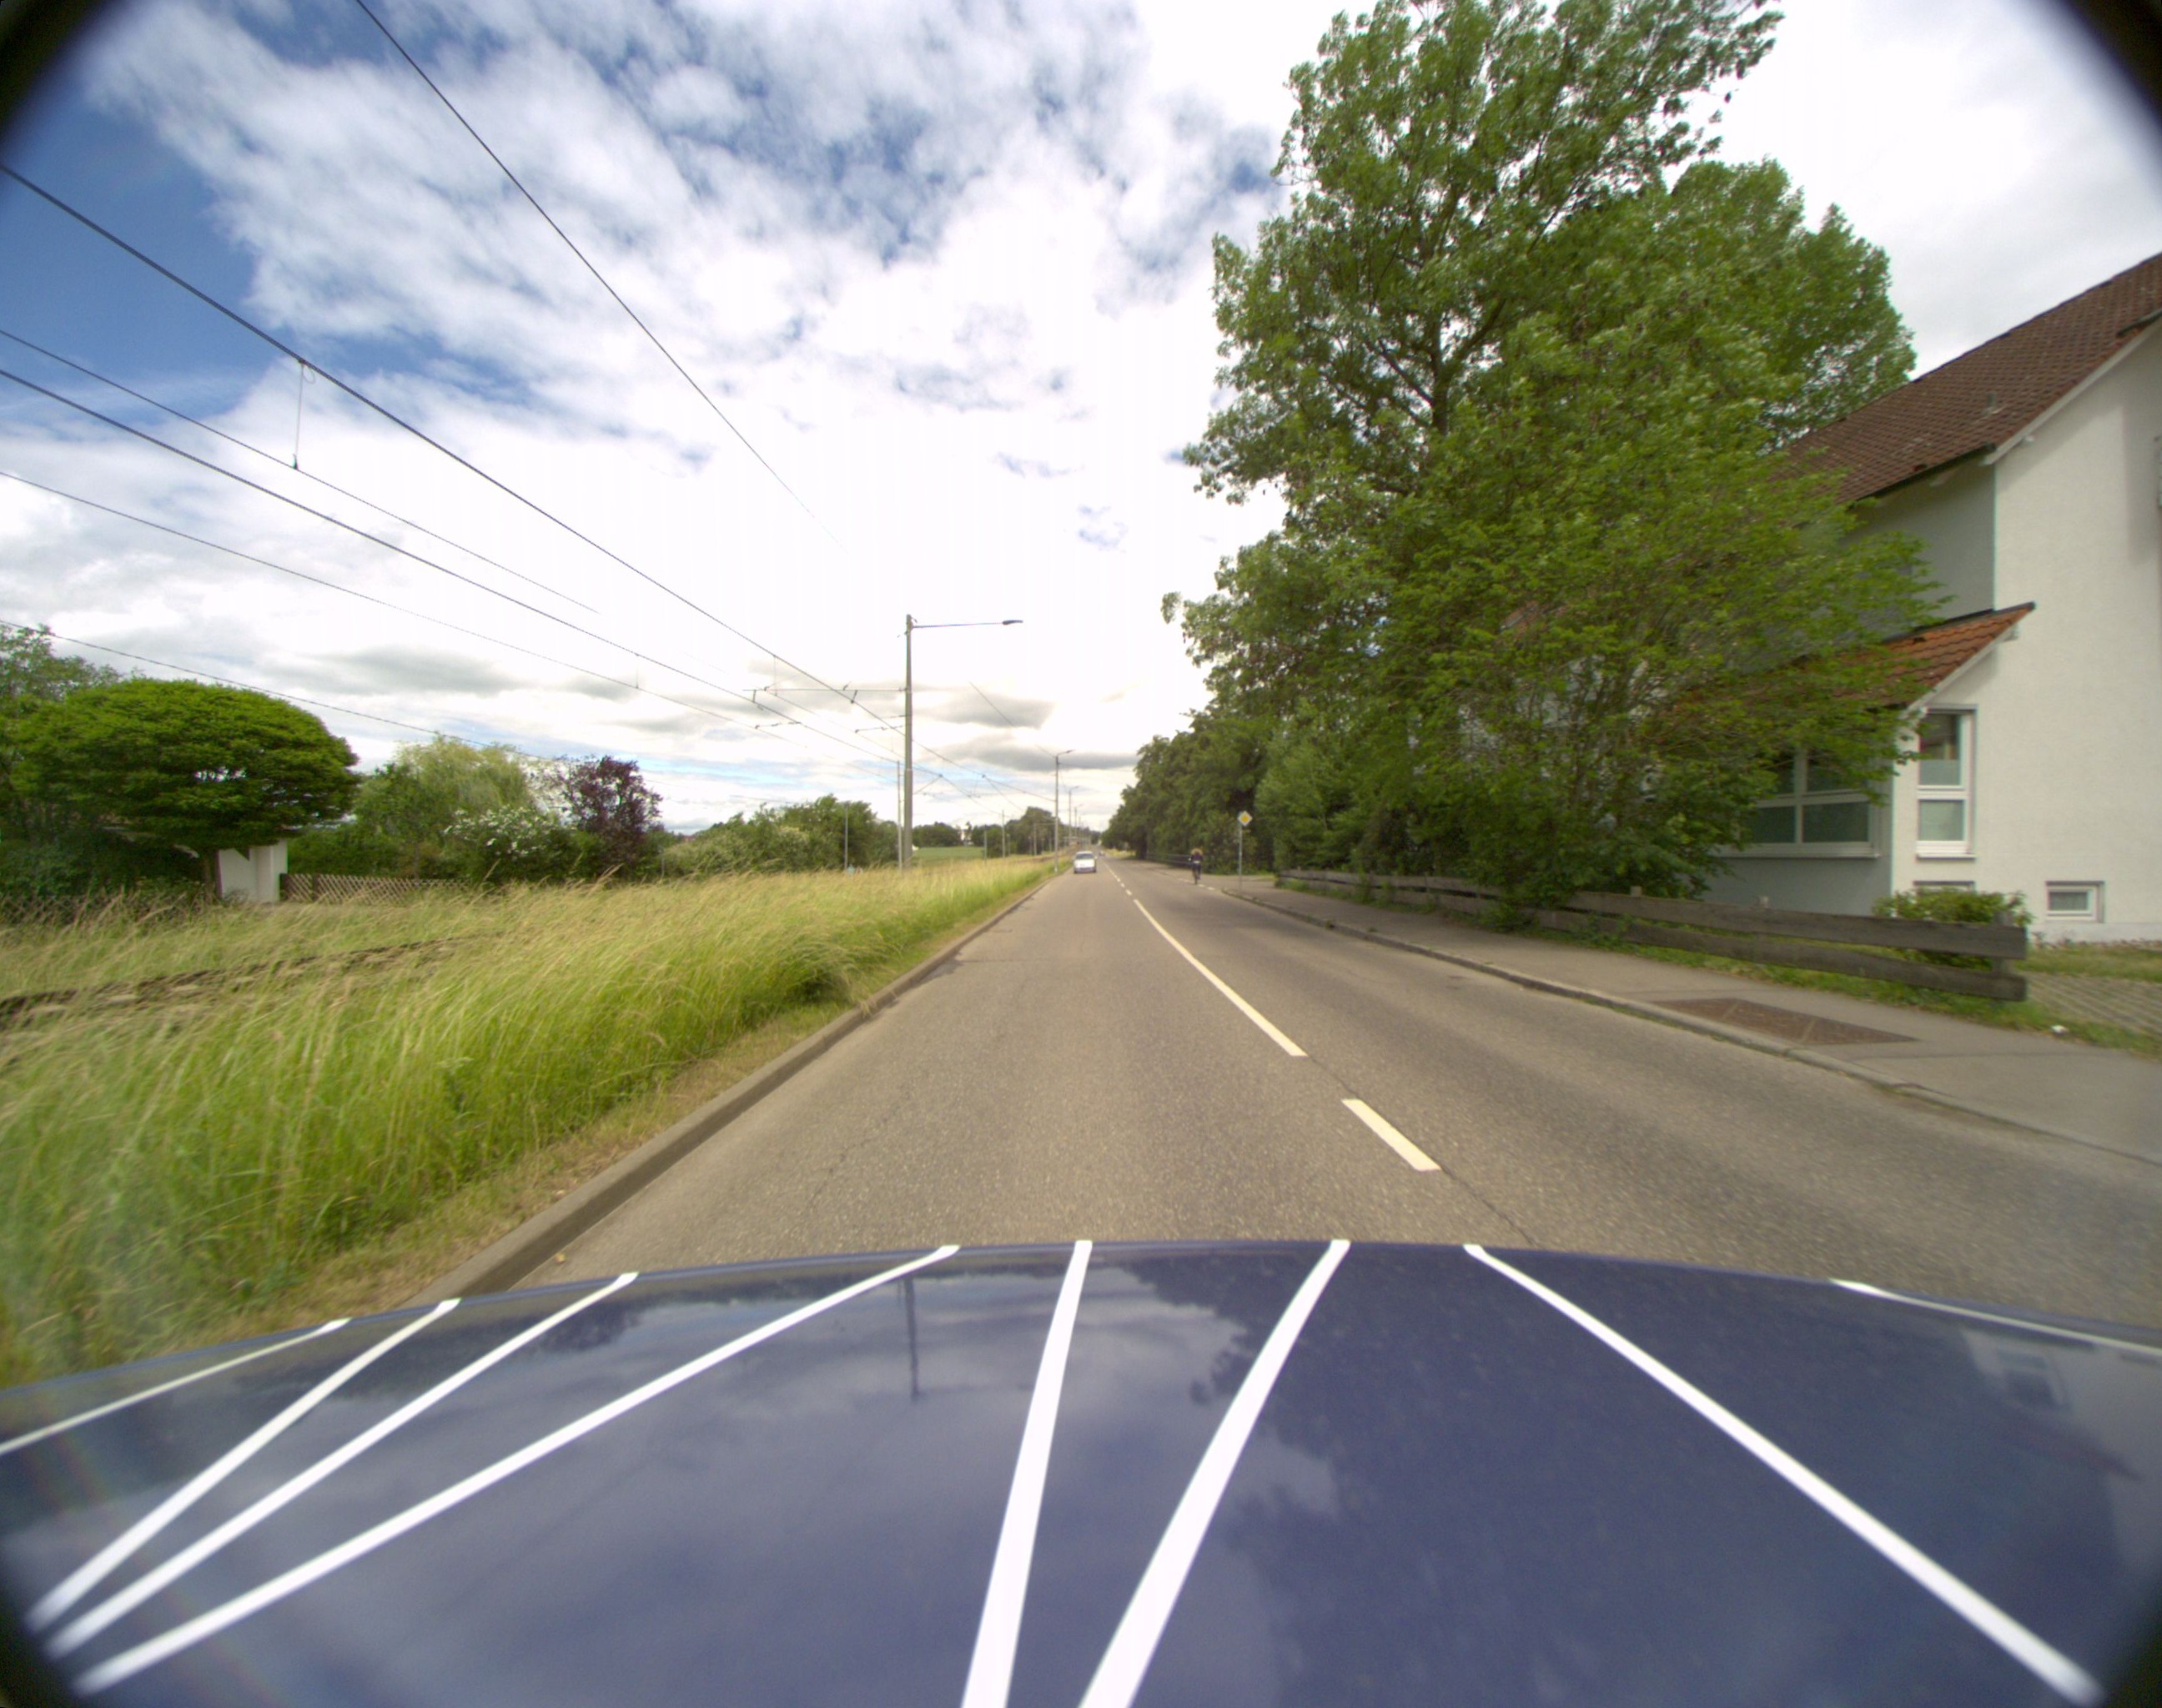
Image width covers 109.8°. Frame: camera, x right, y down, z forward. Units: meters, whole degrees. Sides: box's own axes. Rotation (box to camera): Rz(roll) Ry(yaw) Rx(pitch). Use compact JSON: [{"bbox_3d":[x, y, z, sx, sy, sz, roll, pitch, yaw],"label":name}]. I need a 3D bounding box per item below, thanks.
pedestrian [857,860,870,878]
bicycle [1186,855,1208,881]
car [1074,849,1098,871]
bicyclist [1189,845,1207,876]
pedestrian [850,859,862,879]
[{"bbox_3d":[-17.237,1.203,60.254,0.598,1.422,0.667,-2,1,23],"label":"pedestrian"},{"bbox_3d":[5.818,0.692,38.091,0.757,1.219,2.308,1,1,1],"label":"bicycle"},{"bbox_3d":[0.406,0.453,57.597,1.643,1.510,3.868,-2,1,1],"label":"car"},{"bbox_3d":[5.846,0.298,37.990,0.780,1.540,0.870,0,1,1],"label":"bicyclist"},{"bbox_3d":[-17.952,1.193,60.605,0.617,1.613,0.585,-2,1,25],"label":"pedestrian"}]
